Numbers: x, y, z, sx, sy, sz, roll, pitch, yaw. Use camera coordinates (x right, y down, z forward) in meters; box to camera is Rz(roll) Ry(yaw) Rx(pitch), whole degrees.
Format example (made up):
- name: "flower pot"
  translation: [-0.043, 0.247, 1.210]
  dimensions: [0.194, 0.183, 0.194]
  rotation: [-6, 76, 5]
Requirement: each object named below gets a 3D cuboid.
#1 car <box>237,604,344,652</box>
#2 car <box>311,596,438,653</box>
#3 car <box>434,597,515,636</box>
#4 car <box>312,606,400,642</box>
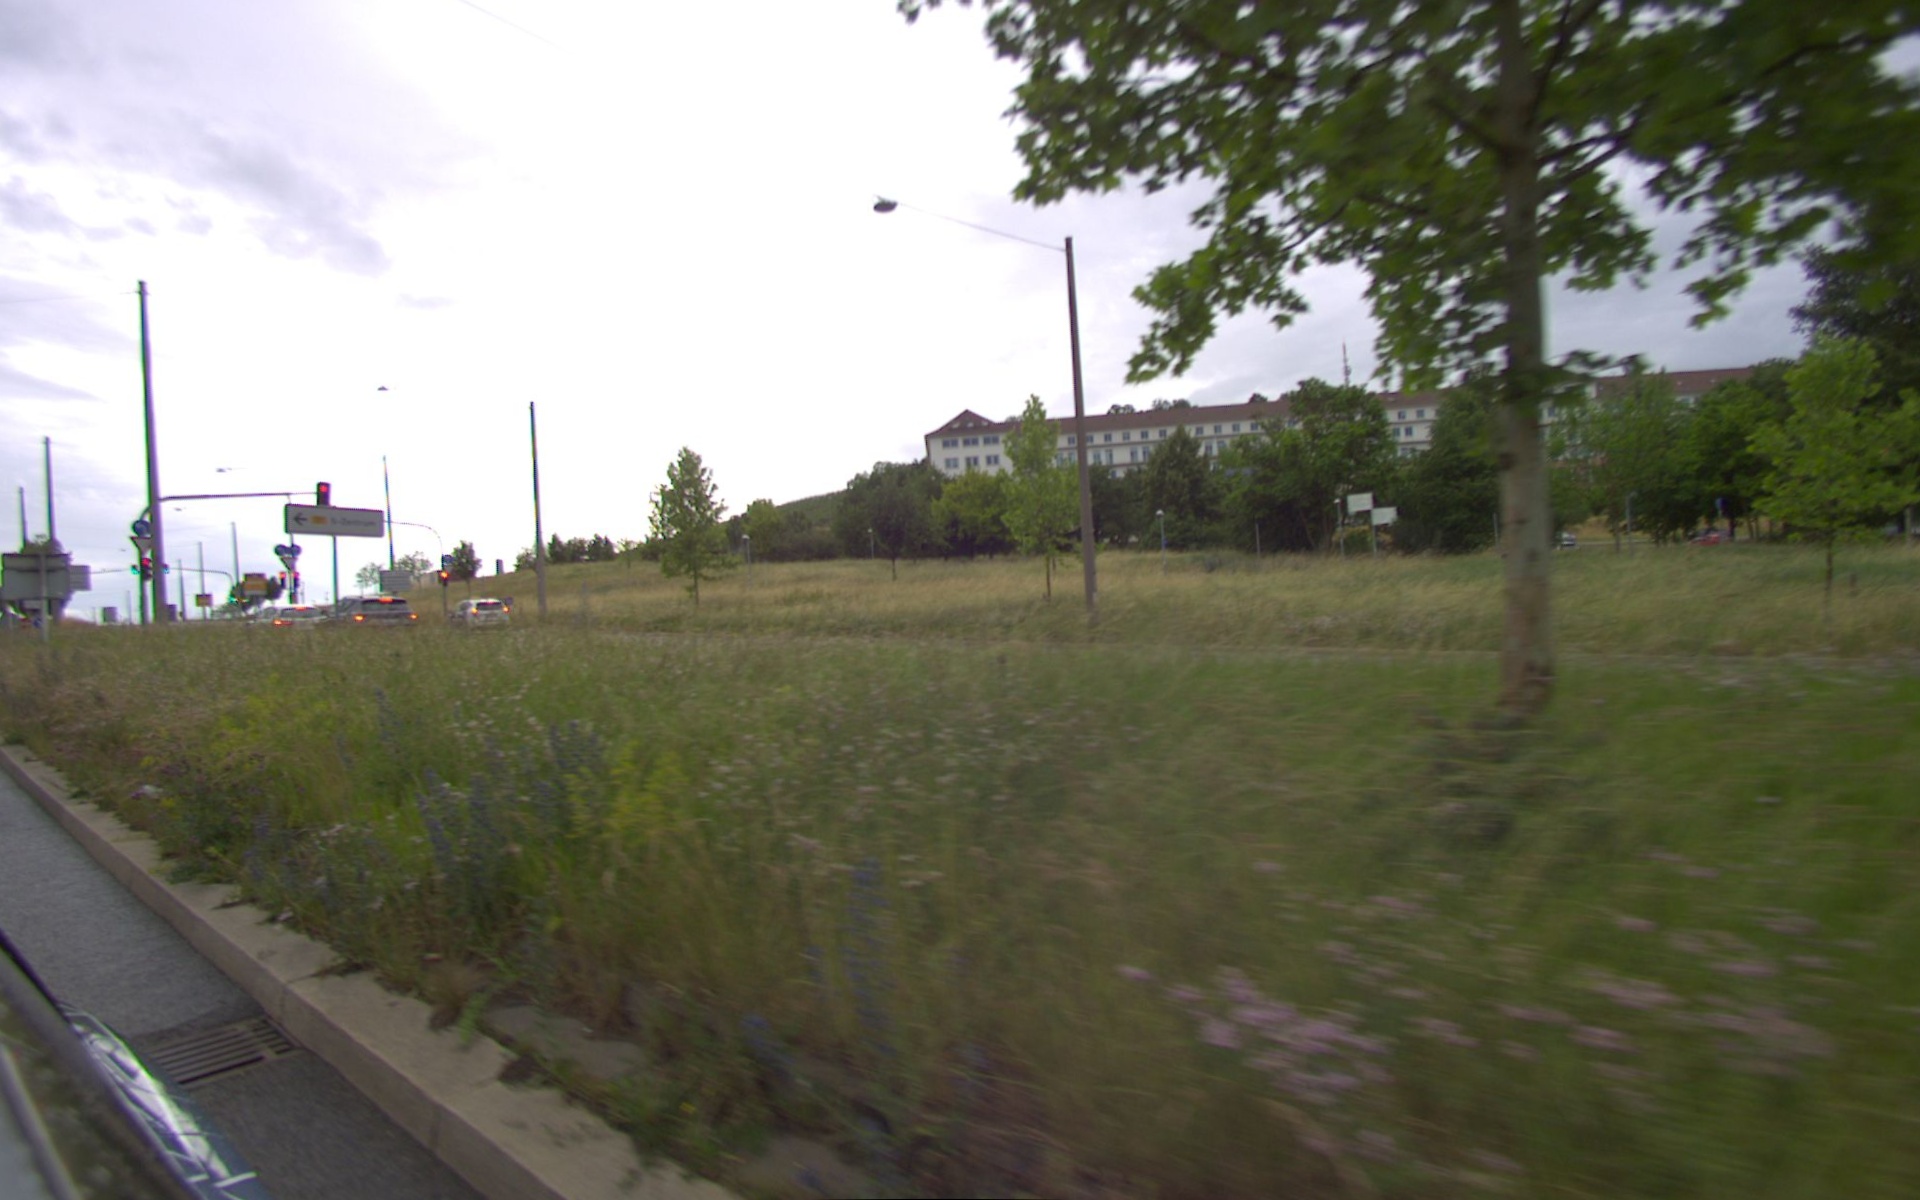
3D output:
- name: "car"
  translation: [-23.021, 0.950, 34.718]
  dimensions: [4.436, 1.433, 1.941]
  rotation: [-2, 1, 42]
- name: "car"
  translation: [-17.566, 0.726, 30.283]
  dimensions: [4.436, 1.523, 1.973]
  rotation: [-2, 1, 42]
- name: "car"
  translation: [-22.735, 0.776, 47.273]
  dimensions: [1.970, 1.656, 4.802]
  rotation: [-3, 1, -44]
- name: "car"
  translation: [-23.540, 0.932, 39.394]
  dimensions: [4.017, 1.316, 1.784]
  rotation: [-2, -1, 42]
